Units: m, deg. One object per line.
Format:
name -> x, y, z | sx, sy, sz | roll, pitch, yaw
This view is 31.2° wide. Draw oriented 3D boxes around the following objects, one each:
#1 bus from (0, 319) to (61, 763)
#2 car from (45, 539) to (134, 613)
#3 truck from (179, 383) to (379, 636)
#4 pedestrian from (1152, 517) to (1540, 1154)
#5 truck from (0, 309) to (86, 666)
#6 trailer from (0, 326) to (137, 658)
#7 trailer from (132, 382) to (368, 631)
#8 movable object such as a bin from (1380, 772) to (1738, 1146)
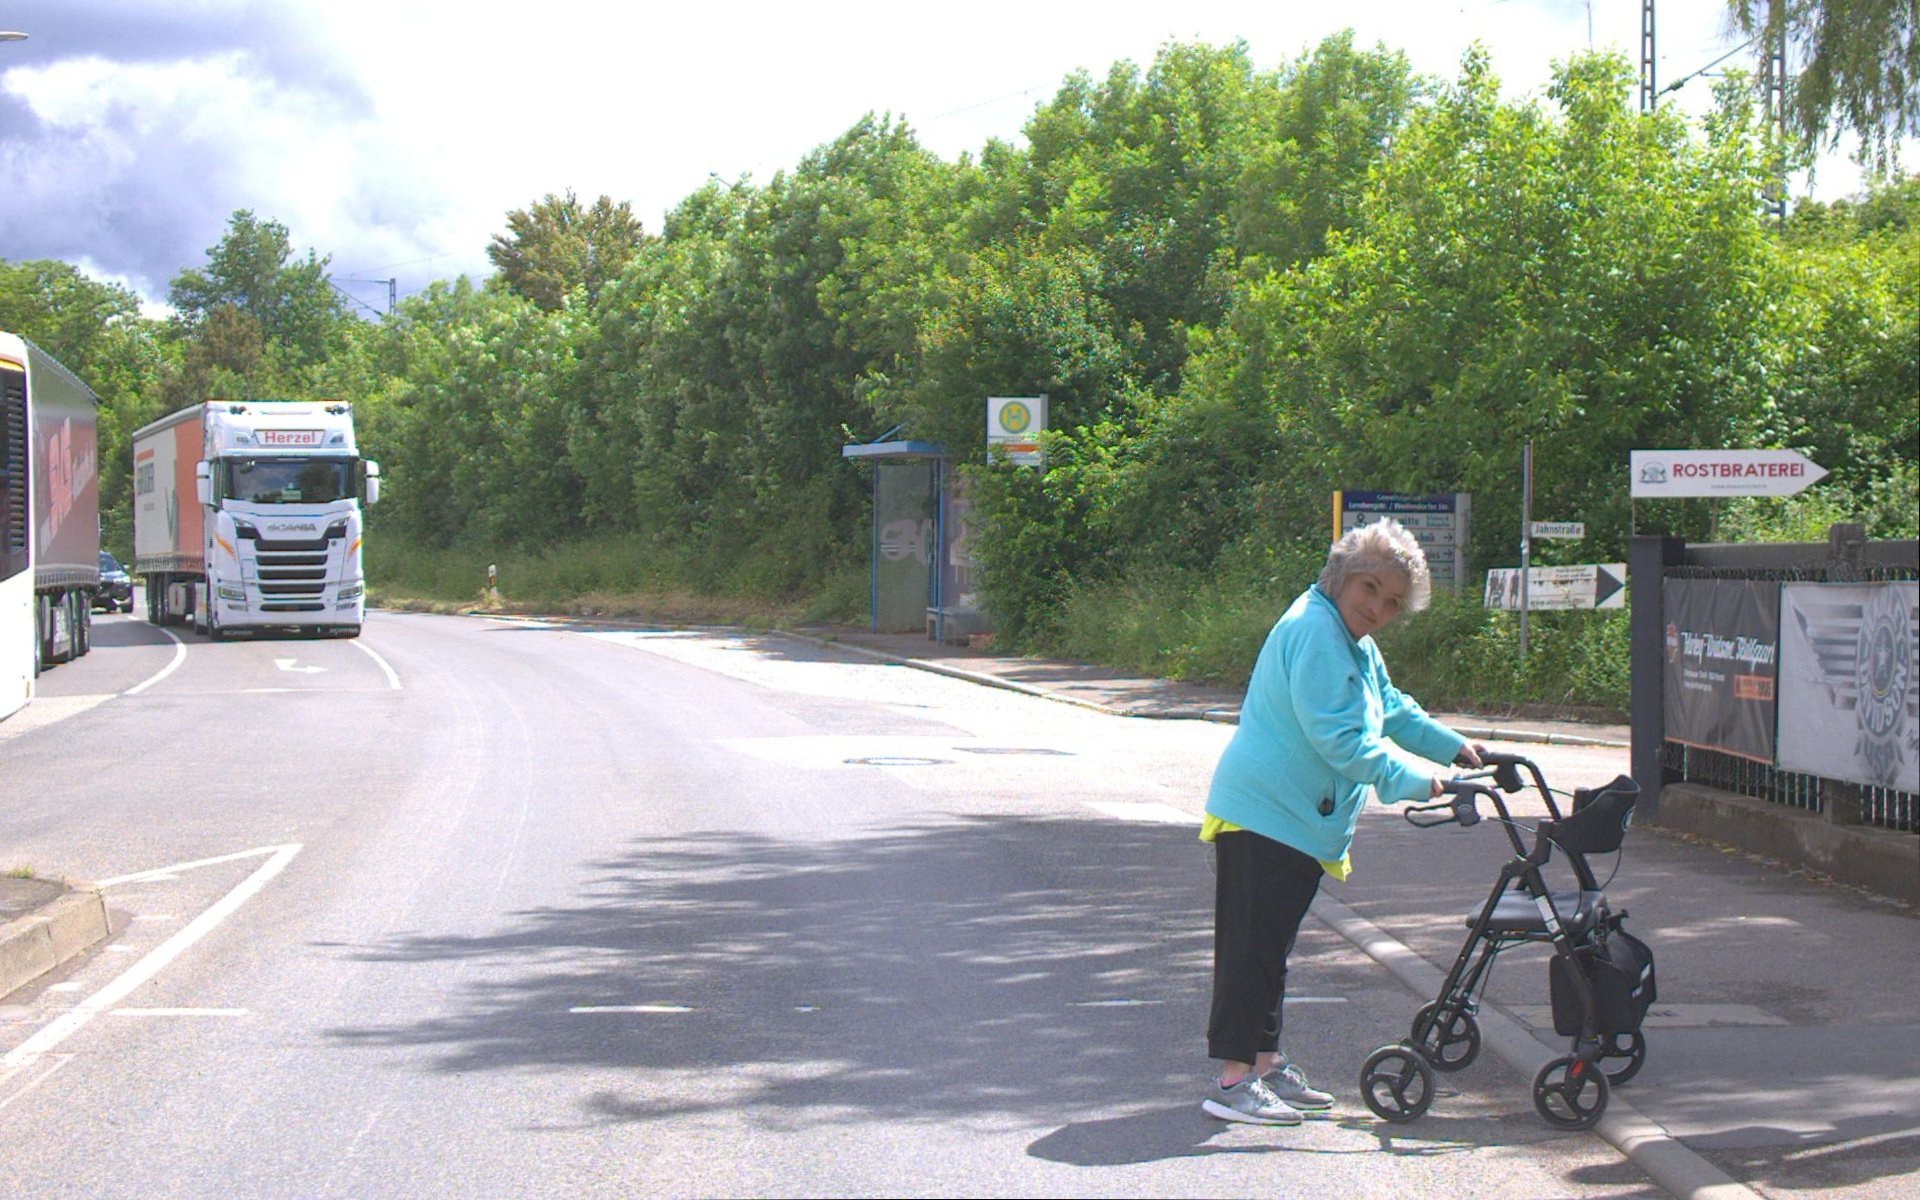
bus -> -7.836, -0.347, 18.849 | 2.718, 3.020, 12.266 | 0, 1, -1
car -> -20.811, -0.592, 82.093 | 1.993, 1.700, 4.001 | 1, 1, -15
truck -> -11.702, -1.511, 58.817 | 2.770, 4.105, 4.988 | 1, 1, -18
pedestrian -> 0.956, 0.569, 8.693 | 0.838, 1.538, 0.734 | 1, 0, -4
truck -> -12.366, -1.327, 41.966 | 2.798, 4.039, 6.503 | 1, 1, -10
trailer -> -13.728, -1.420, 49.377 | 2.798, 4.039, 15.560 | 1, 1, -10
trailer -> -13.696, -1.660, 65.151 | 2.770, 4.130, 15.356 | 1, 1, -18
movable object such as a bin -> 1.504, 0.895, 8.726 | 0.746, 0.868, 0.671 | 1, 0, -4
